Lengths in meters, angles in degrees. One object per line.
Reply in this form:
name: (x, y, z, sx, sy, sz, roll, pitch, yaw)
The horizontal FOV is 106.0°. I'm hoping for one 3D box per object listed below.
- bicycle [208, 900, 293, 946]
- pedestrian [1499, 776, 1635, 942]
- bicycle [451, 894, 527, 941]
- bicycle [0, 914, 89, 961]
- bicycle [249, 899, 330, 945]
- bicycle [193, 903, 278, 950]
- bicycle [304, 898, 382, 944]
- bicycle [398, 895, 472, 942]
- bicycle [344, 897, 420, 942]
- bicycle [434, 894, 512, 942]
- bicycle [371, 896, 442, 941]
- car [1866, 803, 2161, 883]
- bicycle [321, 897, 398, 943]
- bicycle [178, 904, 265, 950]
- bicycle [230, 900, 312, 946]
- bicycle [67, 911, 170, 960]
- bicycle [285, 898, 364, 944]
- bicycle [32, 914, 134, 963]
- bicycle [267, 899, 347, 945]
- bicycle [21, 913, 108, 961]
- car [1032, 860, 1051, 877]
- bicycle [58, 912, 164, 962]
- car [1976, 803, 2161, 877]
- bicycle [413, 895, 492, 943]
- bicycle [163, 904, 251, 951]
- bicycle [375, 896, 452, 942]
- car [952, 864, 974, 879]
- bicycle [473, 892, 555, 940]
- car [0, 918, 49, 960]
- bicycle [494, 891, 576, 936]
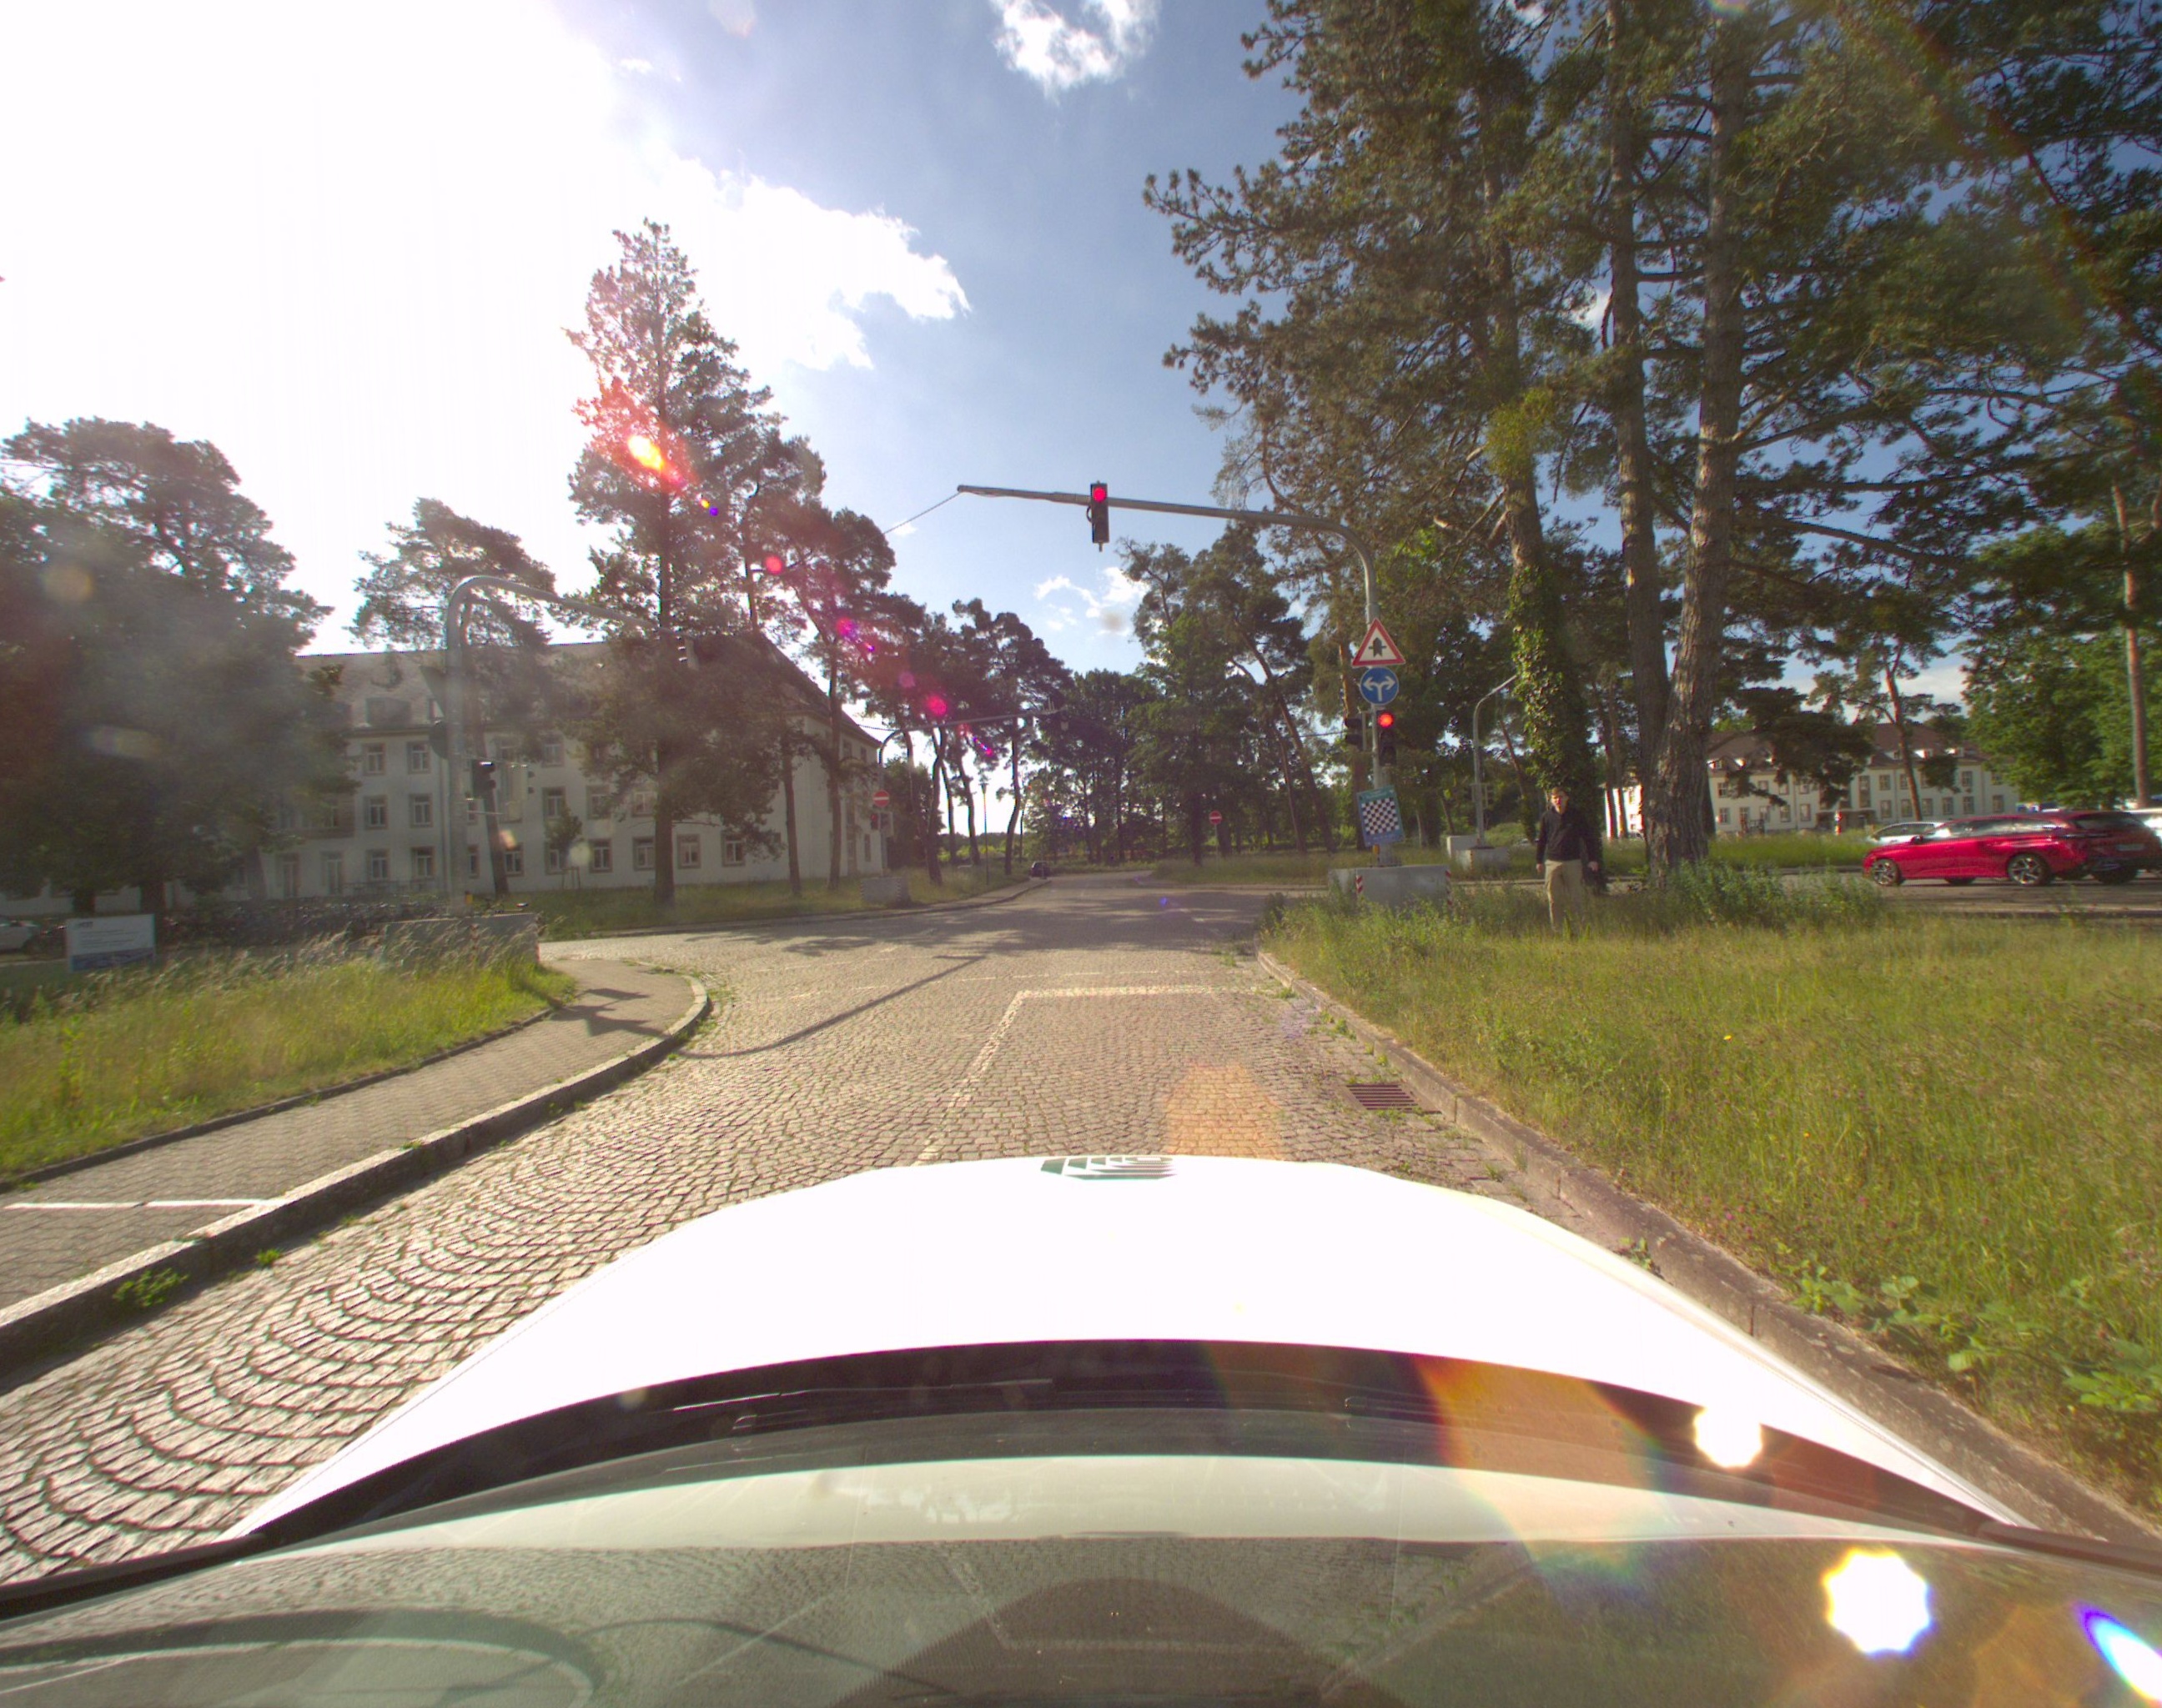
bicycle: (-25.308, 2.083, 24.864, 0.512, 1.220, 1.937, -3, 0, 1)
pedestrian: (5.704, 0.065, 9.557, 1.157, 1.796, 1.070, -3, 0, 38)
bicycle: (-17.550, 1.863, 24.223, 0.631, 1.220, 2.114, -3, 0, 1)
bicycle: (-31.056, 2.479, 24.426, 0.513, 1.220, 1.824, -3, 0, -7)
bicycle: (-24.106, 2.048, 24.853, 0.512, 1.220, 1.937, -3, 0, 1)
bicycle: (-25.767, 2.188, 24.868, 0.512, 1.220, 1.937, -3, 0, 1)
bicycle: (-22.479, 2.004, 24.848, 0.512, 1.220, 1.977, -3, 0, 1)
bicycle: (-19.486, 1.921, 24.614, 0.570, 1.220, 1.990, -3, 0, 1)
bicycle: (-21.313, 1.975, 24.897, 0.512, 1.220, 2.016, -3, 0, 1)
bicycle: (-18.034, 1.878, 24.216, 0.631, 1.220, 2.124, -3, 0, 1)
bicycle: (-20.796, 1.960, 25.170, 0.546, 1.220, 1.900, -3, 0, 1)
car: (18.792, -0.157, 16.573, 1.649, 1.399, 4.130, -2, -1, 1)
bicycle: (-21.962, 1.993, 24.852, 0.512, 1.220, 1.977, -3, 0, 1)
bicycle: (-26.197, 2.200, 24.869, 0.512, 1.220, 1.937, -3, 0, 1)
bicycle: (-24.698, 2.065, 24.874, 0.512, 1.220, 1.937, -3, 0, 1)
bicycle: (-28.002, 2.358, 23.729, 1.837, 1.220, 0.510, -3, 0, -35)
bicycle: (-23.005, 2.016, 24.817, 0.512, 1.220, 1.954, -3, 0, 1)
bicycle: (-29.112, 2.430, 23.788, 0.509, 1.220, 1.841, -3, 0, 38)
bicycle: (-23.560, 2.032, 24.829, 0.512, 1.220, 1.937, -3, 0, 1)
bicycle: (-30.450, 2.461, 24.440, 0.514, 1.220, 1.823, -3, 0, -9)
car: (-3.906, 1.401, 80.689, 1.705, 1.496, 3.917, -3, 0, -1)
bicycle: (-27.613, 2.351, 23.219, 1.837, 1.220, 0.510, -3, 0, -35)
car: (21.668, -0.287, 16.740, 1.773, 1.379, 4.239, -3, -2, 0)
bicycle: (-18.638, 1.895, 24.225, 0.631, 1.220, 2.104, -3, 0, 1)
bicycle: (-26.644, 2.213, 24.878, 0.512, 1.220, 1.937, -3, 0, 1)
bicycle: (-20.231, 1.945, 24.746, 0.576, 1.220, 2.029, -3, 0, 1)
car: (-11.791, 1.735, 81.523, 1.705, 1.274, 3.917, -3, 0, -1)
bicycle: (-16.309, 1.780, 23.459, 1.855, 1.220, 0.635, -3, 0, 0)
car: (-34.075, 2.698, 24.444, 1.504, 1.211, 3.596, -3, 0, 3)
bicycle: (-16.193, 1.758, 24.173, 1.938, 1.220, 0.635, -3, 0, 0)
